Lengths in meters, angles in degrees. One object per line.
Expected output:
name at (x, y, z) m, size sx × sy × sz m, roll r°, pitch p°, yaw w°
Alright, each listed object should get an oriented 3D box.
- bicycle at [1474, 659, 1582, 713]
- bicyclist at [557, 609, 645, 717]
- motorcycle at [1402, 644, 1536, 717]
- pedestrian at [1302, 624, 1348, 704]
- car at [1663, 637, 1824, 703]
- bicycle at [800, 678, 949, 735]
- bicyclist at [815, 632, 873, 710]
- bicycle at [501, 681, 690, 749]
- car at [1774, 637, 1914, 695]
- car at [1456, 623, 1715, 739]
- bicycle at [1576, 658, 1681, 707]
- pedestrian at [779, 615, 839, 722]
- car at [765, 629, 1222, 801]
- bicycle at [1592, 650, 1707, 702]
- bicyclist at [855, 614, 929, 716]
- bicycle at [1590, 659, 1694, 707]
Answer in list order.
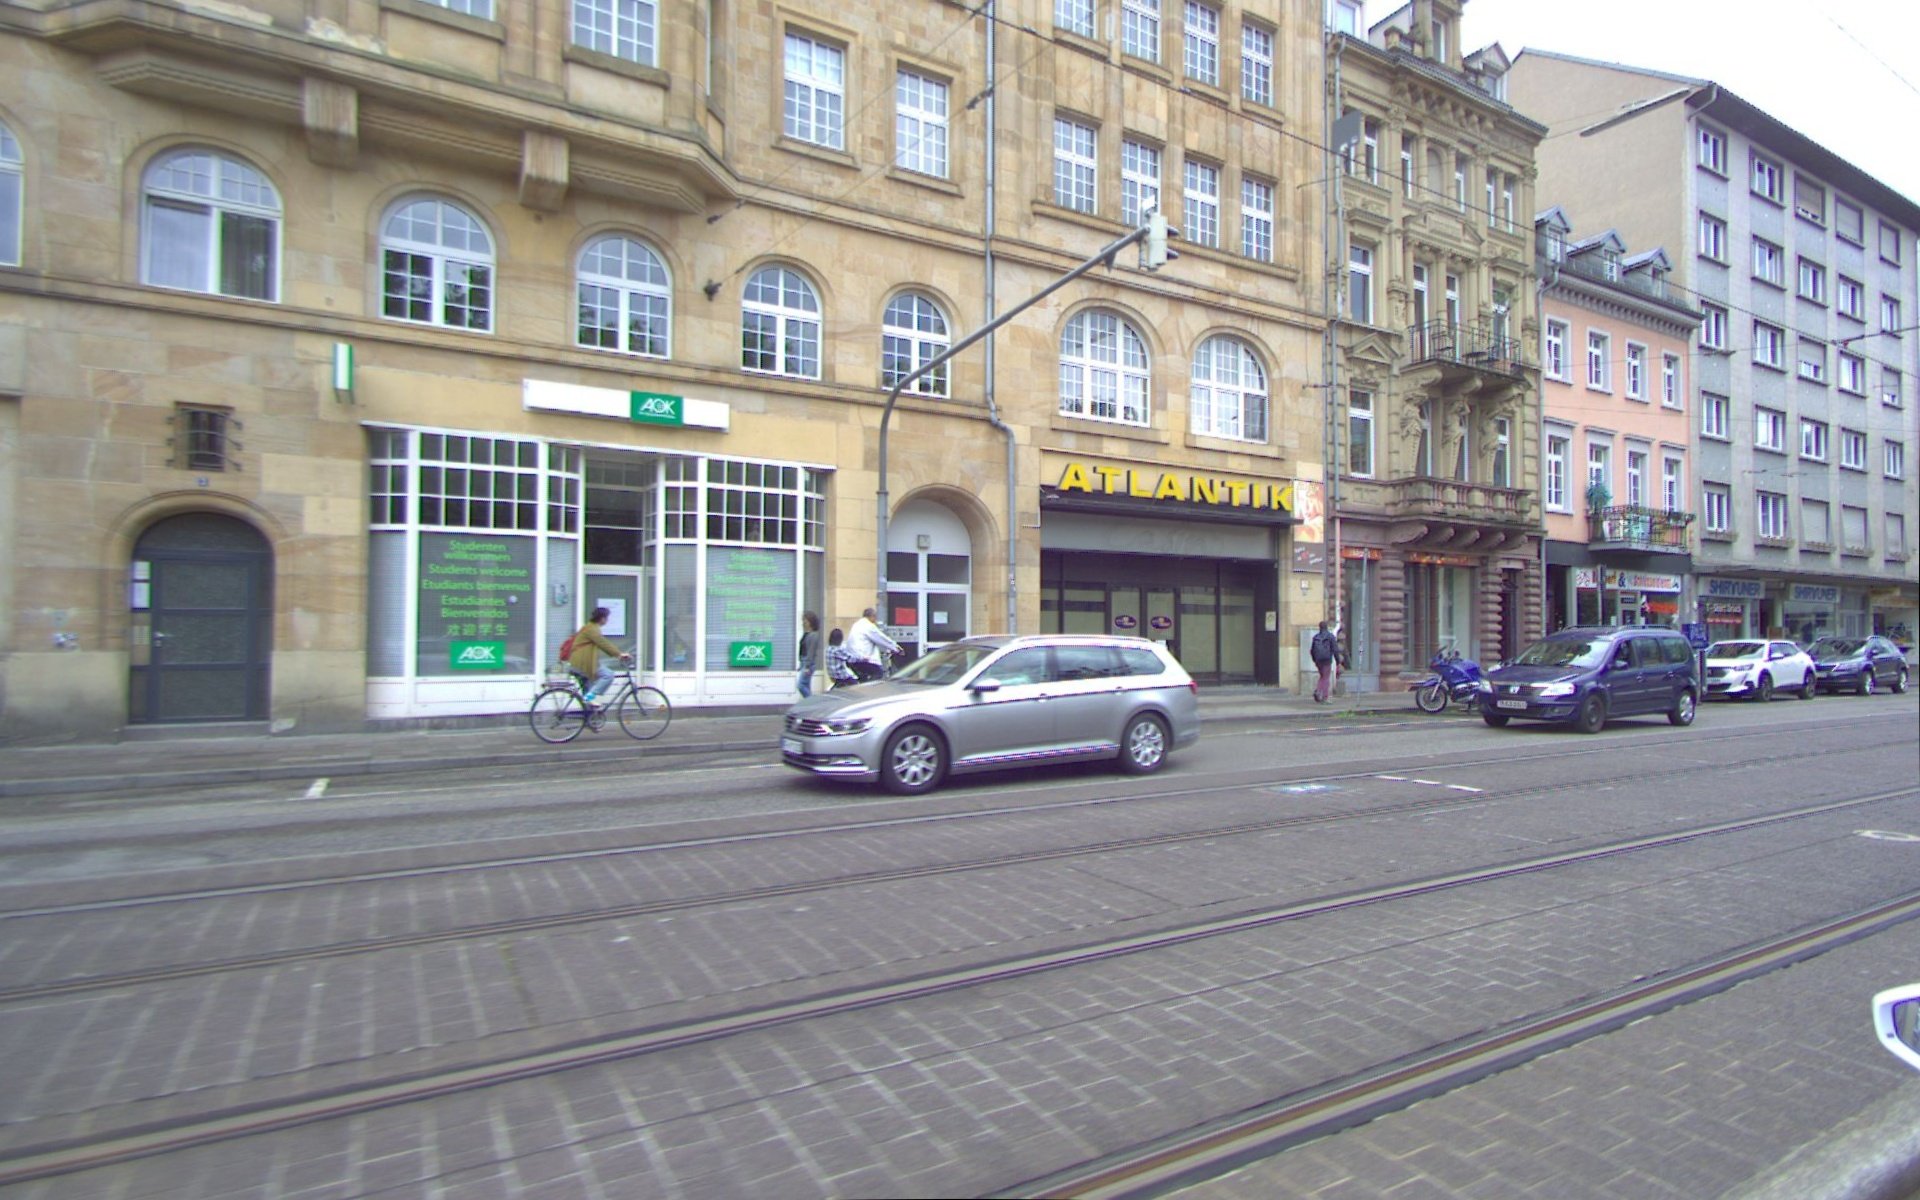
bicycle at (11.667, 1.740, 20.681) m, size 0.459 × 1.014 × 1.907 m, roll 2°, pitch -2°, yaw -37°
bicyclist at (-4.637, 0.801, 12.983) m, size 0.961 × 1.341 × 0.608 m, roll 1°, pitch -2°, yaw -30°
motorcycle at (9.920, 1.547, 19.701) m, size 2.299 × 1.320 × 0.883 m, roll 0°, pitch -2°, yaw 24°
pedestrian at (7.508, 1.311, 20.677) m, size 0.710 × 1.619 × 0.565 m, roll 1°, pitch -2°, yaw -31°
car at (19.916, 1.728, 25.497) m, size 4.351 × 1.524 × 1.767 m, roll 2°, pitch -2°, yaw -31°
bicycle at (-1.263, 1.588, 15.208) m, size 2.224 × 0.755 × 0.579 m, roll 1°, pitch -2°, yaw -31°
bicyclist at (-1.728, 1.044, 14.951) m, size 0.652 × 1.132 × 0.608 m, roll 1°, pitch -2°, yaw -30°
bicycle at (-4.671, 1.453, 12.946) m, size 2.224 × 0.755 × 0.579 m, roll 2°, pitch -2°, yaw -31°
car at (25.213, 1.843, 28.622) m, size 4.351 × 1.524 × 1.767 m, roll 2°, pitch -2°, yaw -31°
car at (10.447, 1.265, 16.686) m, size 4.560 × 1.693 × 1.751 m, roll 2°, pitch -2°, yaw -30°
bicycle at (15.204, 1.860, 22.891) m, size 0.459 × 1.014 × 1.952 m, roll 2°, pitch -2°, yaw -37°
pedestrian at (-2.397, 1.071, 15.913) m, size 0.733 × 1.634 × 0.682 m, roll 1°, pitch -2°, yaw -30°
car at (0.447, 1.056, 10.478) m, size 4.560 × 1.468 × 1.751 m, roll 2°, pitch -2°, yaw -30°
bicycle at (16.324, 1.778, 23.839) m, size 0.499 × 1.141 × 2.214 m, roll 2°, pitch -2°, yaw -37°
bicyclist at (-1.043, 0.972, 15.367) m, size 0.961 × 1.507 × 0.608 m, roll 1°, pitch -2°, yaw -30°
bicycle at (15.728, 1.892, 23.215) m, size 0.459 × 1.014 × 1.952 m, roll 2°, pitch -2°, yaw -37°
